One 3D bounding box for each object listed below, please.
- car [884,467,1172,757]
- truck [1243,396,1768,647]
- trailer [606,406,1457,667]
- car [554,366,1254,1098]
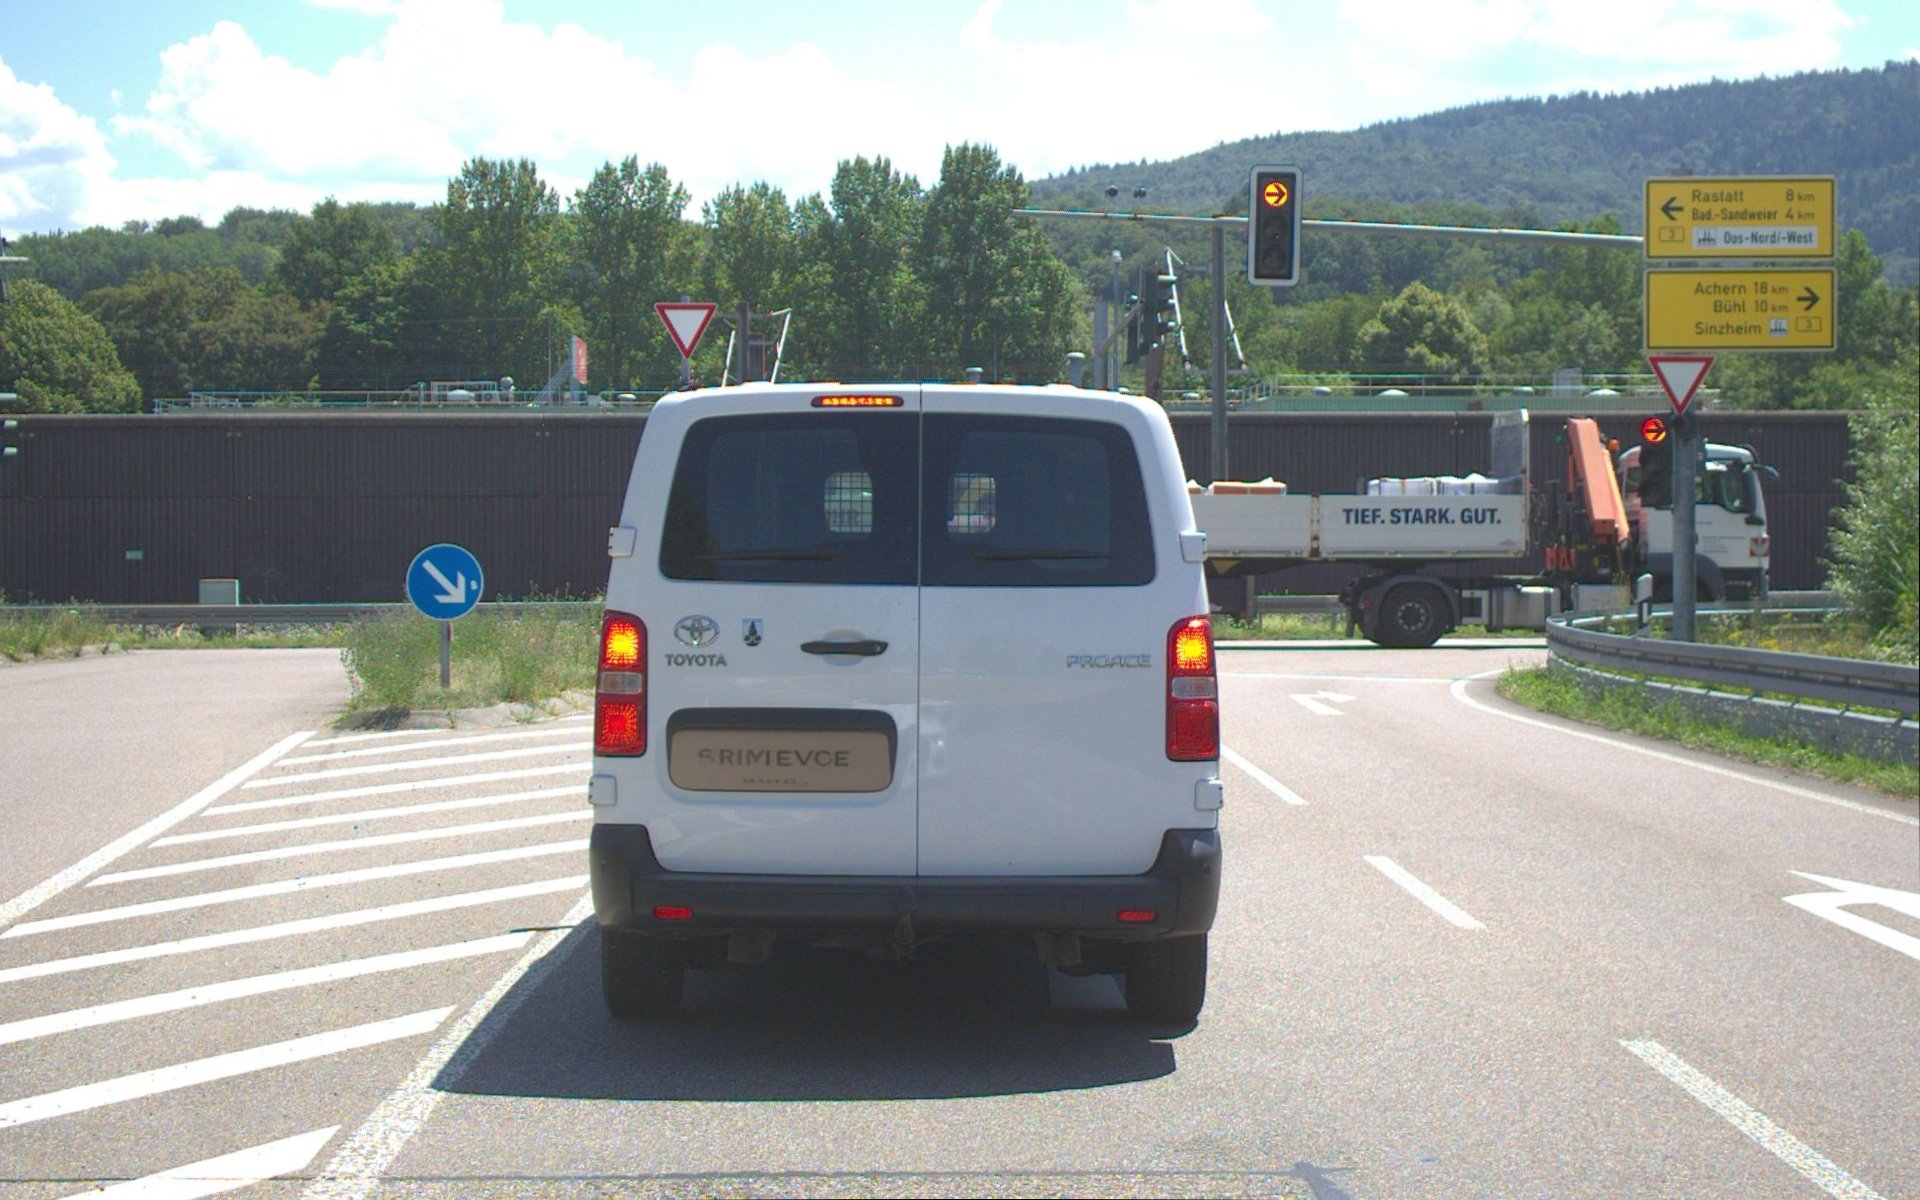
[{"bbox_3d":[0.469,0.061,26.373,1.993,2.006,4.000,-1,1,0],"label":"car"},{"bbox_3d":[8.099,-1.193,51.472,7.404,3.492,2.233,-1,2,-2],"label":"truck"},{"bbox_3d":[1.030,-0.976,51.127,12.319,3.492,2.233,-1,2,-3],"label":"trailer"},{"bbox_3d":[-0.178,0.331,11.279,1.870,1.958,4.000,1,1,-1],"label":"car"}]
